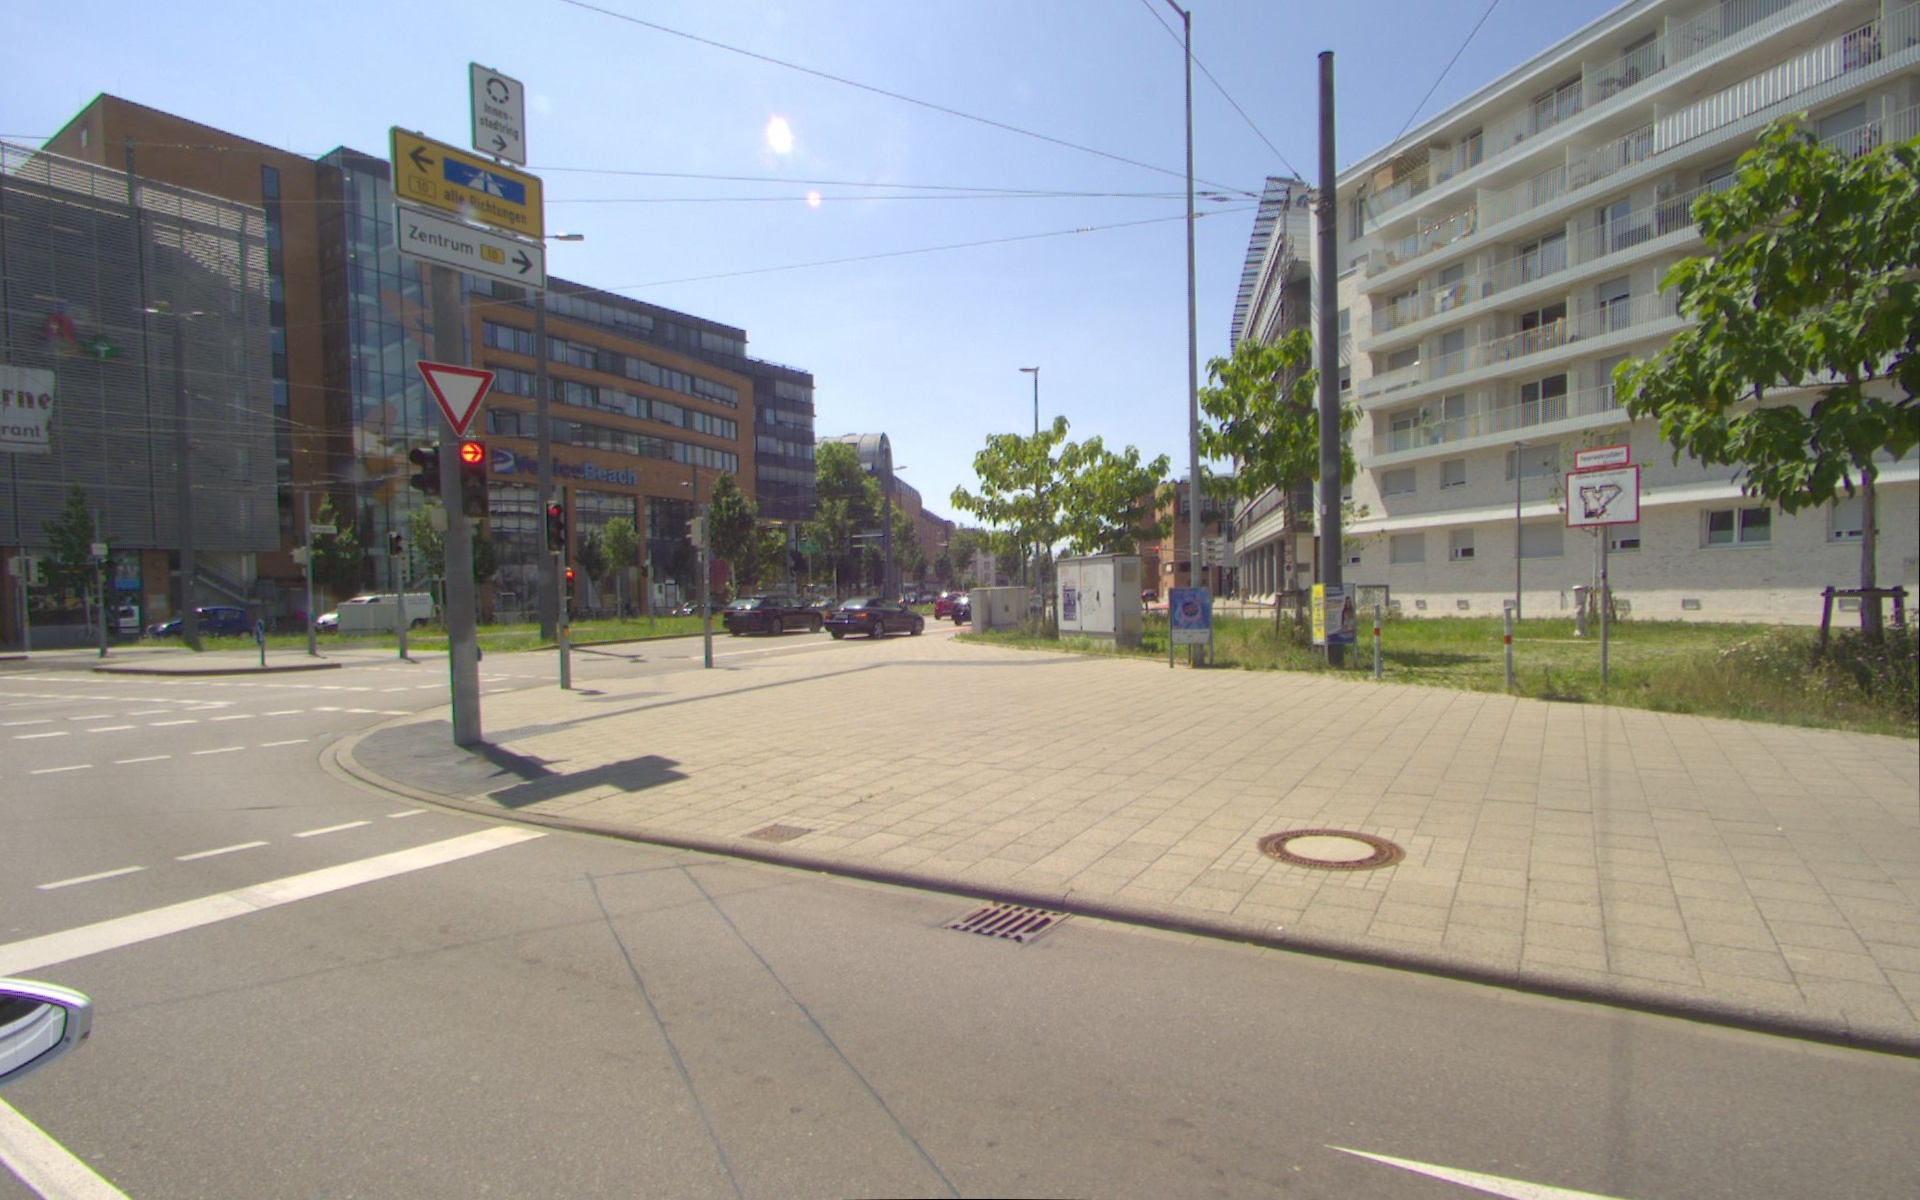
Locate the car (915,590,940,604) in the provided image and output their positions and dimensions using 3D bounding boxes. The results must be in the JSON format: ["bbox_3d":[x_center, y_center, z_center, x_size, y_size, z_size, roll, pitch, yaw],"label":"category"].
[{"bbox_3d":[-3.882,-0.389,120.626,1.794,1.689,3.823,0,0,20],"label":"car"}]

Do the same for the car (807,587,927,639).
[{"bbox_3d":[-3.128,0.387,34.662,1.969,1.598,4.543,0,2,28],"label":"car"}]

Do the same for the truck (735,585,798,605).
[{"bbox_3d":[-28.355,-0.758,146.517,9.067,2.846,1.998,0,0,13],"label":"truck"}]

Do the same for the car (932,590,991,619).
[{"bbox_3d":[0.139,0.250,54.703,1.811,1.528,4.128,0,0,22],"label":"car"}]

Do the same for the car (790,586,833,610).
[{"bbox_3d":[-13.063,-0.153,88.337,1.966,2.040,3.989,0,0,23],"label":"car"}]

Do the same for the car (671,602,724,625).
[{"bbox_3d":[-18.917,0.953,72.365,1.656,1.550,3.989,0,0,23],"label":"car"}]

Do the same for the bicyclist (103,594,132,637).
[{"bbox_3d":[-41.026,0.751,48.766,0.738,2.040,0.909,1,1,35],"label":"bicyclist"}]

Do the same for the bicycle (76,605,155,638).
[{"bbox_3d":[-41.056,1.036,48.739,0.695,1.578,2.840,1,0,35],"label":"bicycle"}]

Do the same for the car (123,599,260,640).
[{"bbox_3d":[-30.844,0.750,40.297,1.853,1.559,3.980,0,0,31],"label":"car"}]

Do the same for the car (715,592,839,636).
[{"bbox_3d":[-6.628,0.485,36.730,1.860,1.479,4.758,0,0,30],"label":"car"}]

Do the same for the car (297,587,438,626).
[{"bbox_3d":[-27.435,0.295,46.592,1.969,1.690,5.459,0,0,28],"label":"car"}]

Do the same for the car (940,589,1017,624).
[{"bbox_3d":[0.913,0.261,46.519,1.813,1.528,4.523,0,1,26],"label":"car"}]
